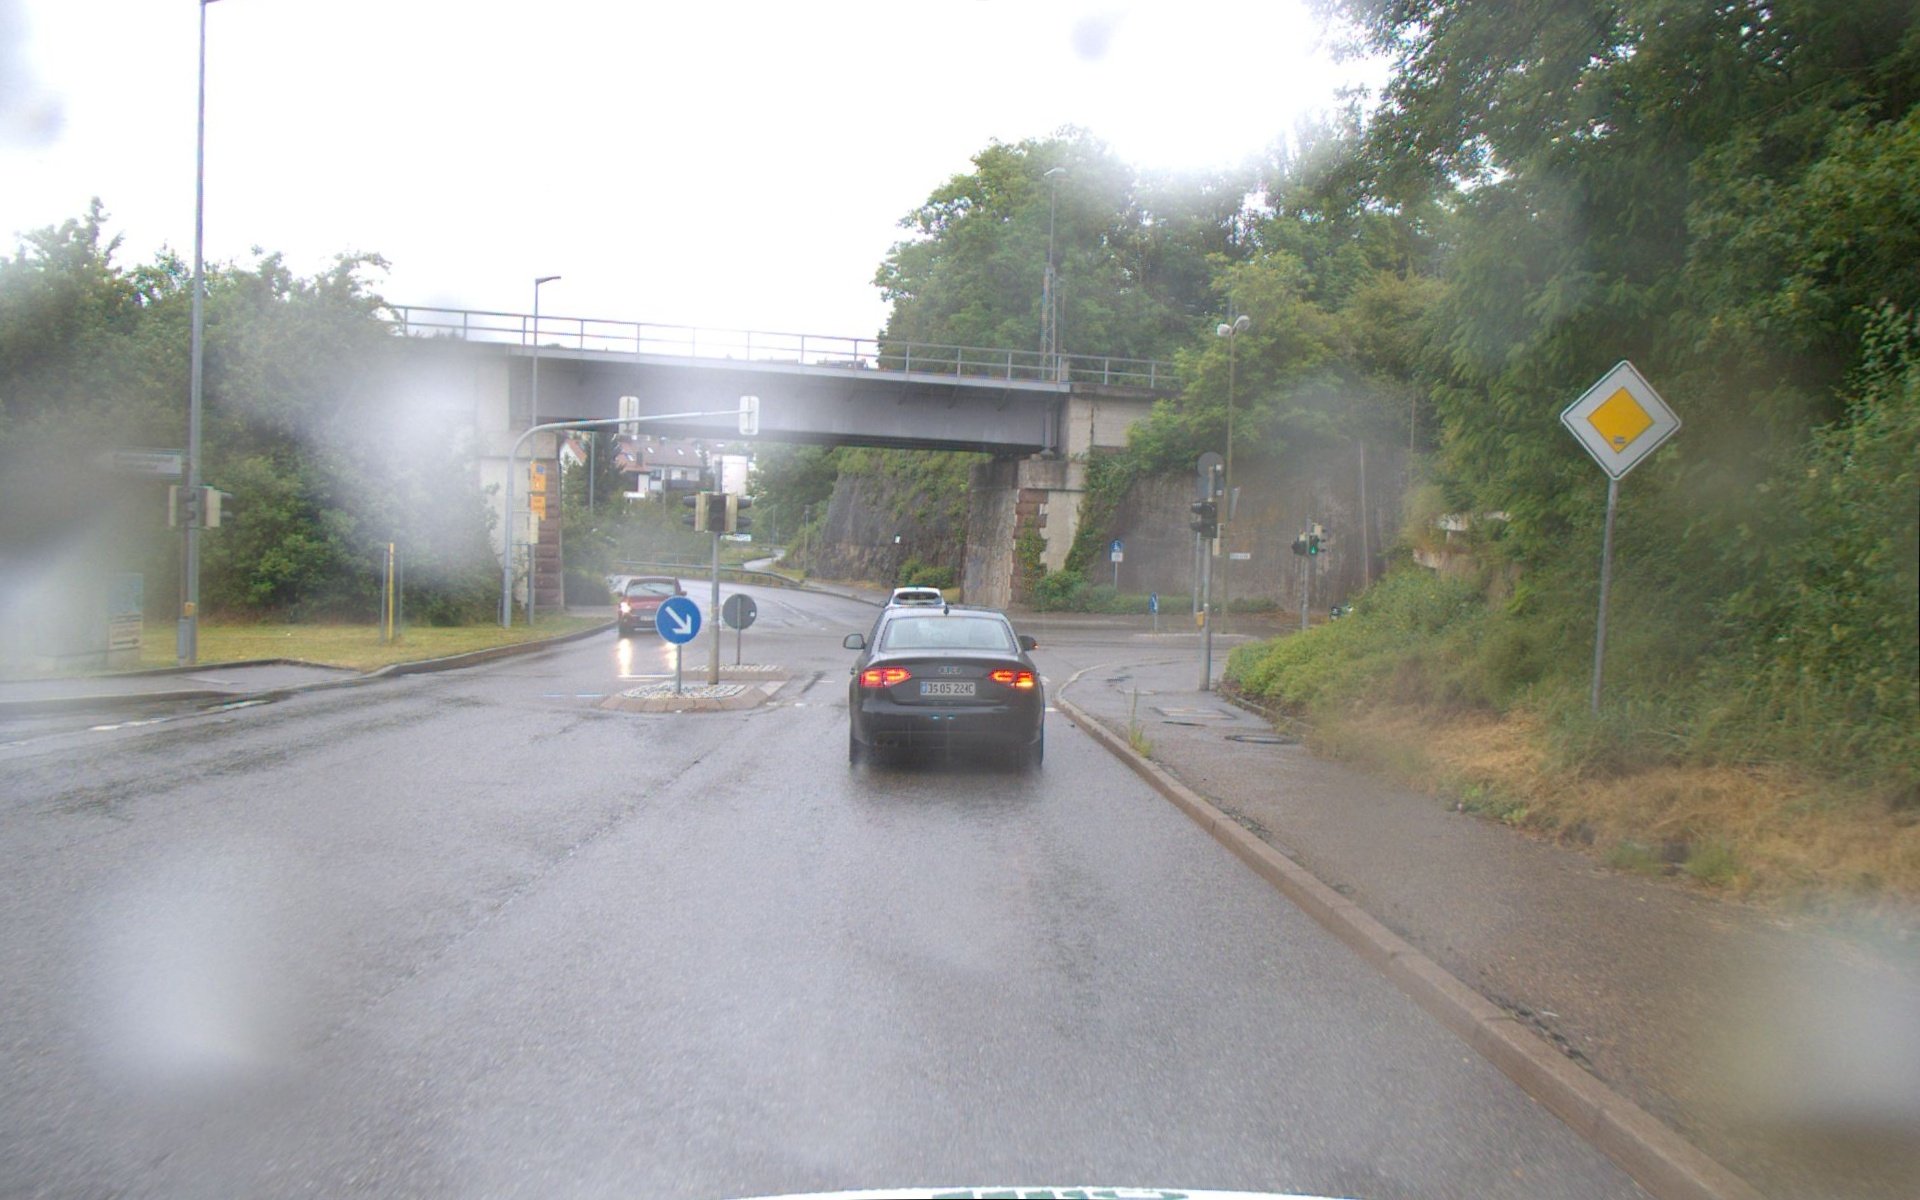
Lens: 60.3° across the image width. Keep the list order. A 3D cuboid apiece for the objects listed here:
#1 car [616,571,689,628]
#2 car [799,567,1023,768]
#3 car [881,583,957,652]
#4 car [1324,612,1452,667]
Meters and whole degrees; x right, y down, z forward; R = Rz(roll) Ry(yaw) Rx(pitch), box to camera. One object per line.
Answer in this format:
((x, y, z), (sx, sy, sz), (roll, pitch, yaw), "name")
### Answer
((-9.262, -0.030, 50.116), (1.956, 1.657, 3.993), (0, 0, -8), "car")
((-0.433, 0.596, 15.650), (1.832, 1.645, 3.999), (1, -1, -1), "car")
((-1.016, 0.459, 41.595), (1.786, 1.613, 3.999), (1, -1, -1), "car")
((13.445, 1.248, 52.026), (3.630, 1.691, 1.488), (0, -1, -8), "car")
